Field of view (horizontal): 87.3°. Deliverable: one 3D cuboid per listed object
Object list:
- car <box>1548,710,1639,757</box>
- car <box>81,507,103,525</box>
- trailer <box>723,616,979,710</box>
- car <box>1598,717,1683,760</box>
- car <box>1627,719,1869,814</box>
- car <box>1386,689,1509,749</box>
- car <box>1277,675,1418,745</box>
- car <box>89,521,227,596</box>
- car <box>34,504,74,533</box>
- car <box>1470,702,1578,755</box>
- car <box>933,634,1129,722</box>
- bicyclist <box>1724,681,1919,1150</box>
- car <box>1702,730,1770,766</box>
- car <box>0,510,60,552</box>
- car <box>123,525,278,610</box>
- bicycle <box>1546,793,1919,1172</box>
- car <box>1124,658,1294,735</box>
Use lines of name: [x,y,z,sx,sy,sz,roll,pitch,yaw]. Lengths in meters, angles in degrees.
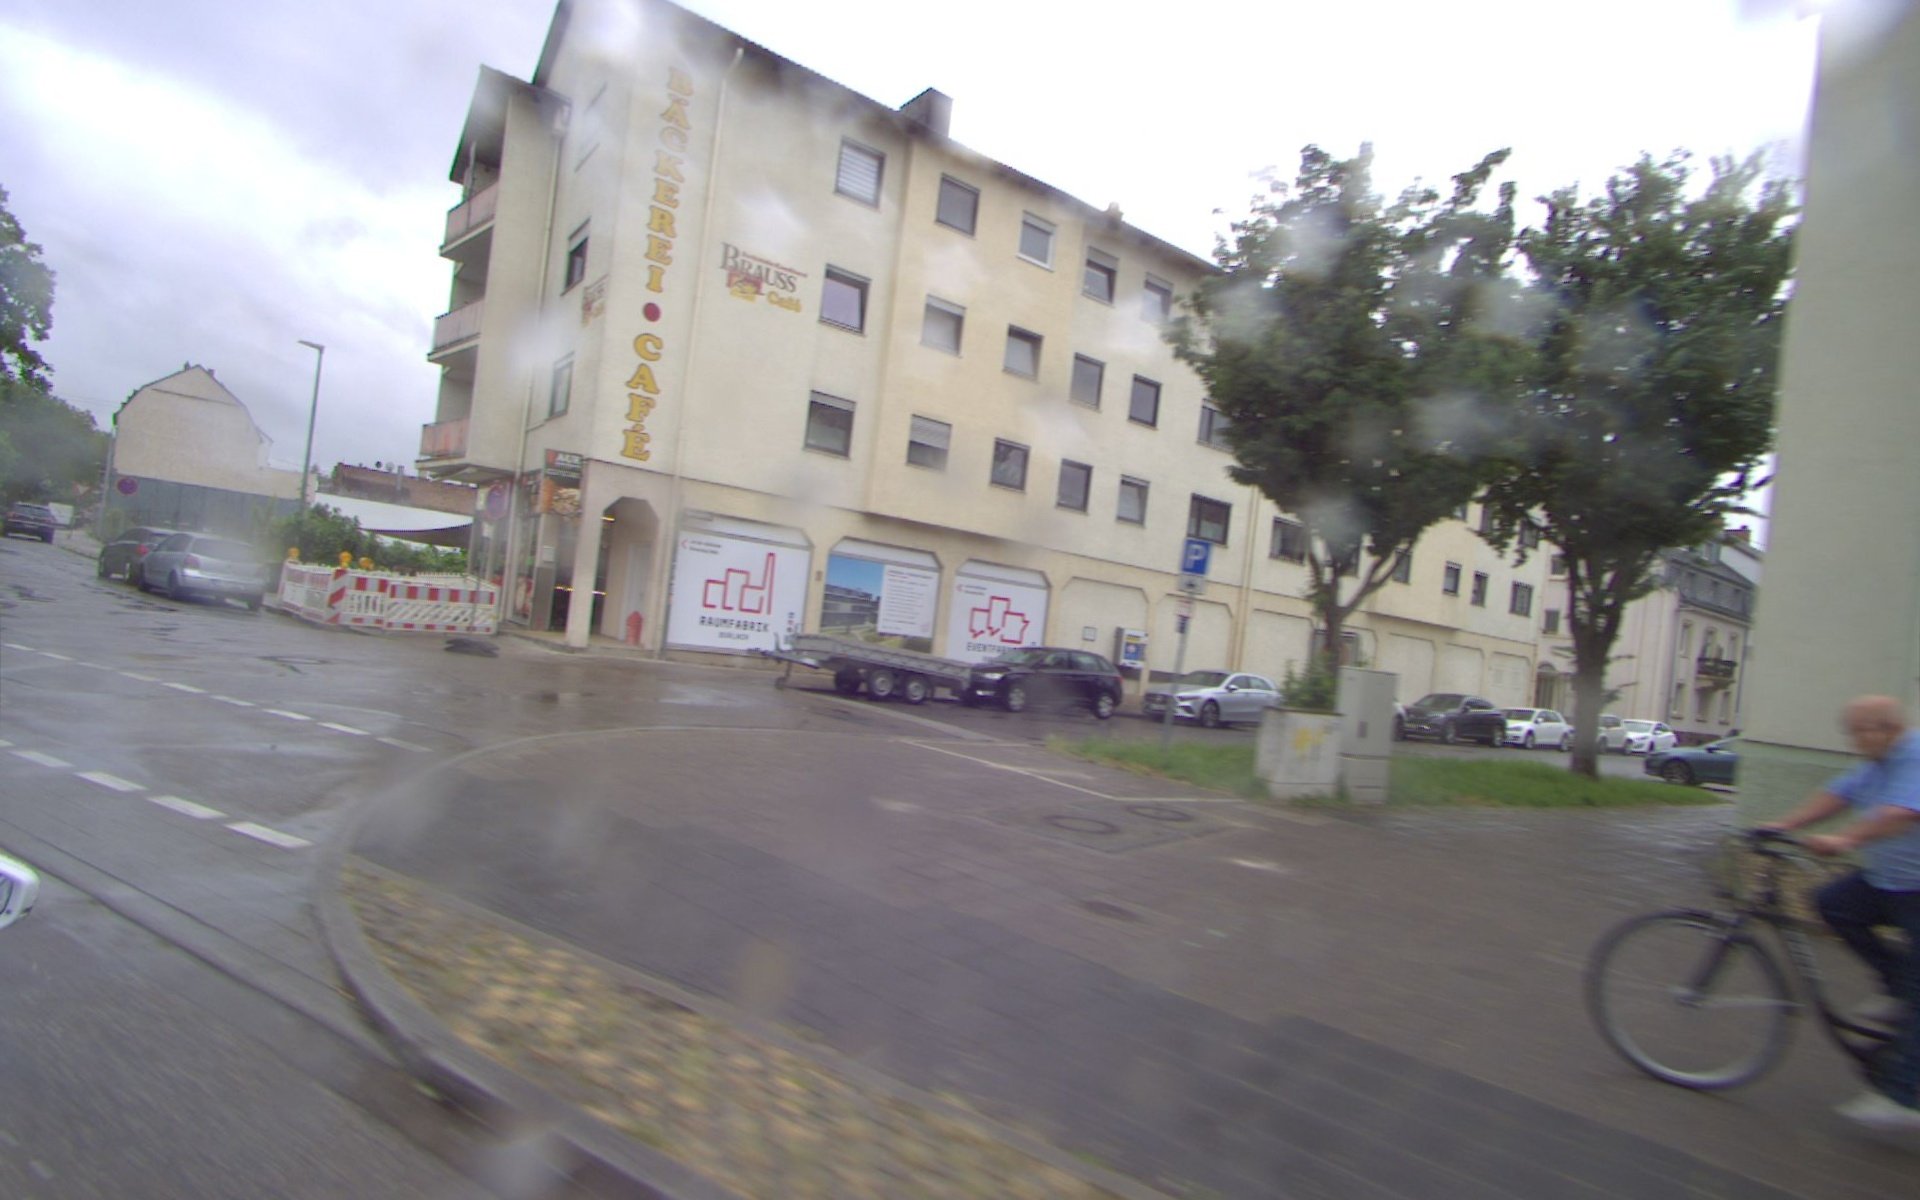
car: [24.465,5.174,38.807,3.679,1.405,1.721,9,-2,-37]
car: [-118.641,-11.482,137.517,1.986,2.037,3.957,8,-2,-39]
trailer: [-2.032,1.238,19.329,4.490,1.246,1.809,9,-2,-33]
car: [28.031,5.712,41.415,3.679,1.405,1.721,9,-2,-37]
car: [19.486,4.067,25.029,1.727,1.552,4.414,8,-2,-41]
car: [15.493,3.793,31.912,4.145,1.444,1.721,9,-2,-37]
car: [11.109,3.153,28.719,4.145,1.533,1.721,9,-2,-37]
car: [-20.149,-1.061,25.225,4.095,1.450,1.698,5,-2,38]
car: [-85.440,-7.663,94.903,2.340,2.234,4.564,8,-2,-39]
car: [19.852,4.531,35.363,4.145,1.405,1.721,9,-2,-37]
car: [1.586,1.709,21.821,3.965,1.419,1.722,9,-2,-35]
bicyclist: [3.556,1.168,3.891,0.703,1.601,0.640,7,-1,29]
car: [38.979,7.427,50.516,3.679,1.405,1.721,9,-2,-37]
car: [-44.319,-3.296,47.885,4.250,1.673,1.850,5,-2,45]
car: [-16.876,-0.741,22.298,4.115,1.450,1.634,5,-2,38]
bicycle: [3.494,1.510,3.944,1.938,1.072,0.674,7,-1,29]
car: [6.198,2.410,24.902,4.144,1.419,1.722,9,-2,-36]
